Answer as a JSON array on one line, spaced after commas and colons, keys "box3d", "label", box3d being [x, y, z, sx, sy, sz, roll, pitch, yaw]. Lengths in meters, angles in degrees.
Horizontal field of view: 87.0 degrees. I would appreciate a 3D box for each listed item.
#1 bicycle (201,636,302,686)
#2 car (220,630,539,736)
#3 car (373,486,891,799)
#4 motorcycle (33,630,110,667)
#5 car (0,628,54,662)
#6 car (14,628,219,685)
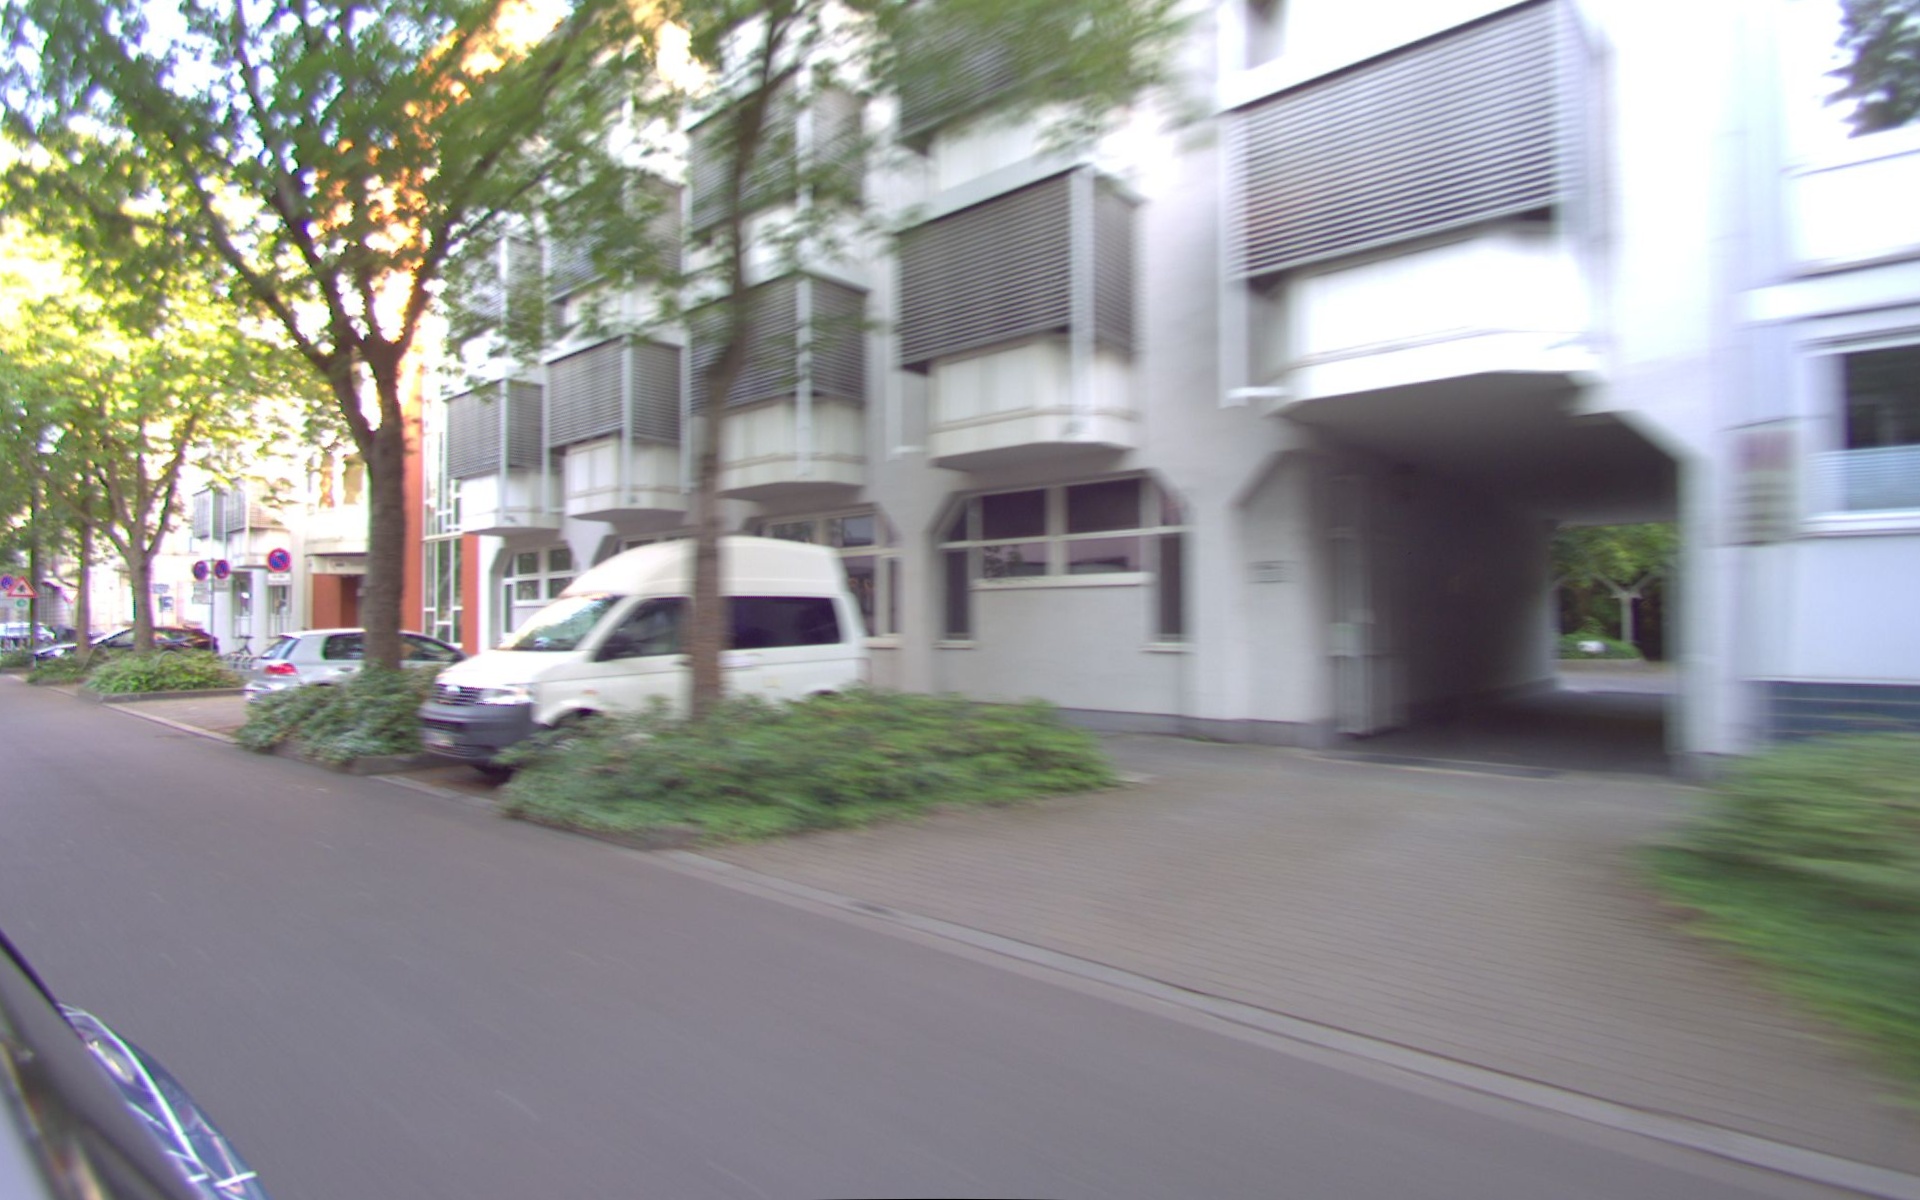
[{"box3d": [-17.700, 1.504, 25.322, 0.654, 1.185, 1.941, -1, -2, 35], "label": "bicycle"}, {"box3d": [-9.319, 1.240, 16.493, 1.952, 1.480, 4.123, -2, -2, 42], "label": "car"}, {"box3d": [-3.255, 0.408, 10.950, 2.120, 2.592, 4.951, -2, -2, 41], "label": "car"}, {"box3d": [-36.241, 1.951, 41.305, 0.895, 1.481, 2.217, -1, -2, 19], "label": "motorcycle"}, {"box3d": [-51.072, 2.395, 53.583, 4.537, 1.748, 2.143, 1, -2, -44], "label": "car"}, {"box3d": [-25.052, 1.638, 30.200, 1.871, 1.537, 4.462, -2, -2, 41], "label": "car"}]
